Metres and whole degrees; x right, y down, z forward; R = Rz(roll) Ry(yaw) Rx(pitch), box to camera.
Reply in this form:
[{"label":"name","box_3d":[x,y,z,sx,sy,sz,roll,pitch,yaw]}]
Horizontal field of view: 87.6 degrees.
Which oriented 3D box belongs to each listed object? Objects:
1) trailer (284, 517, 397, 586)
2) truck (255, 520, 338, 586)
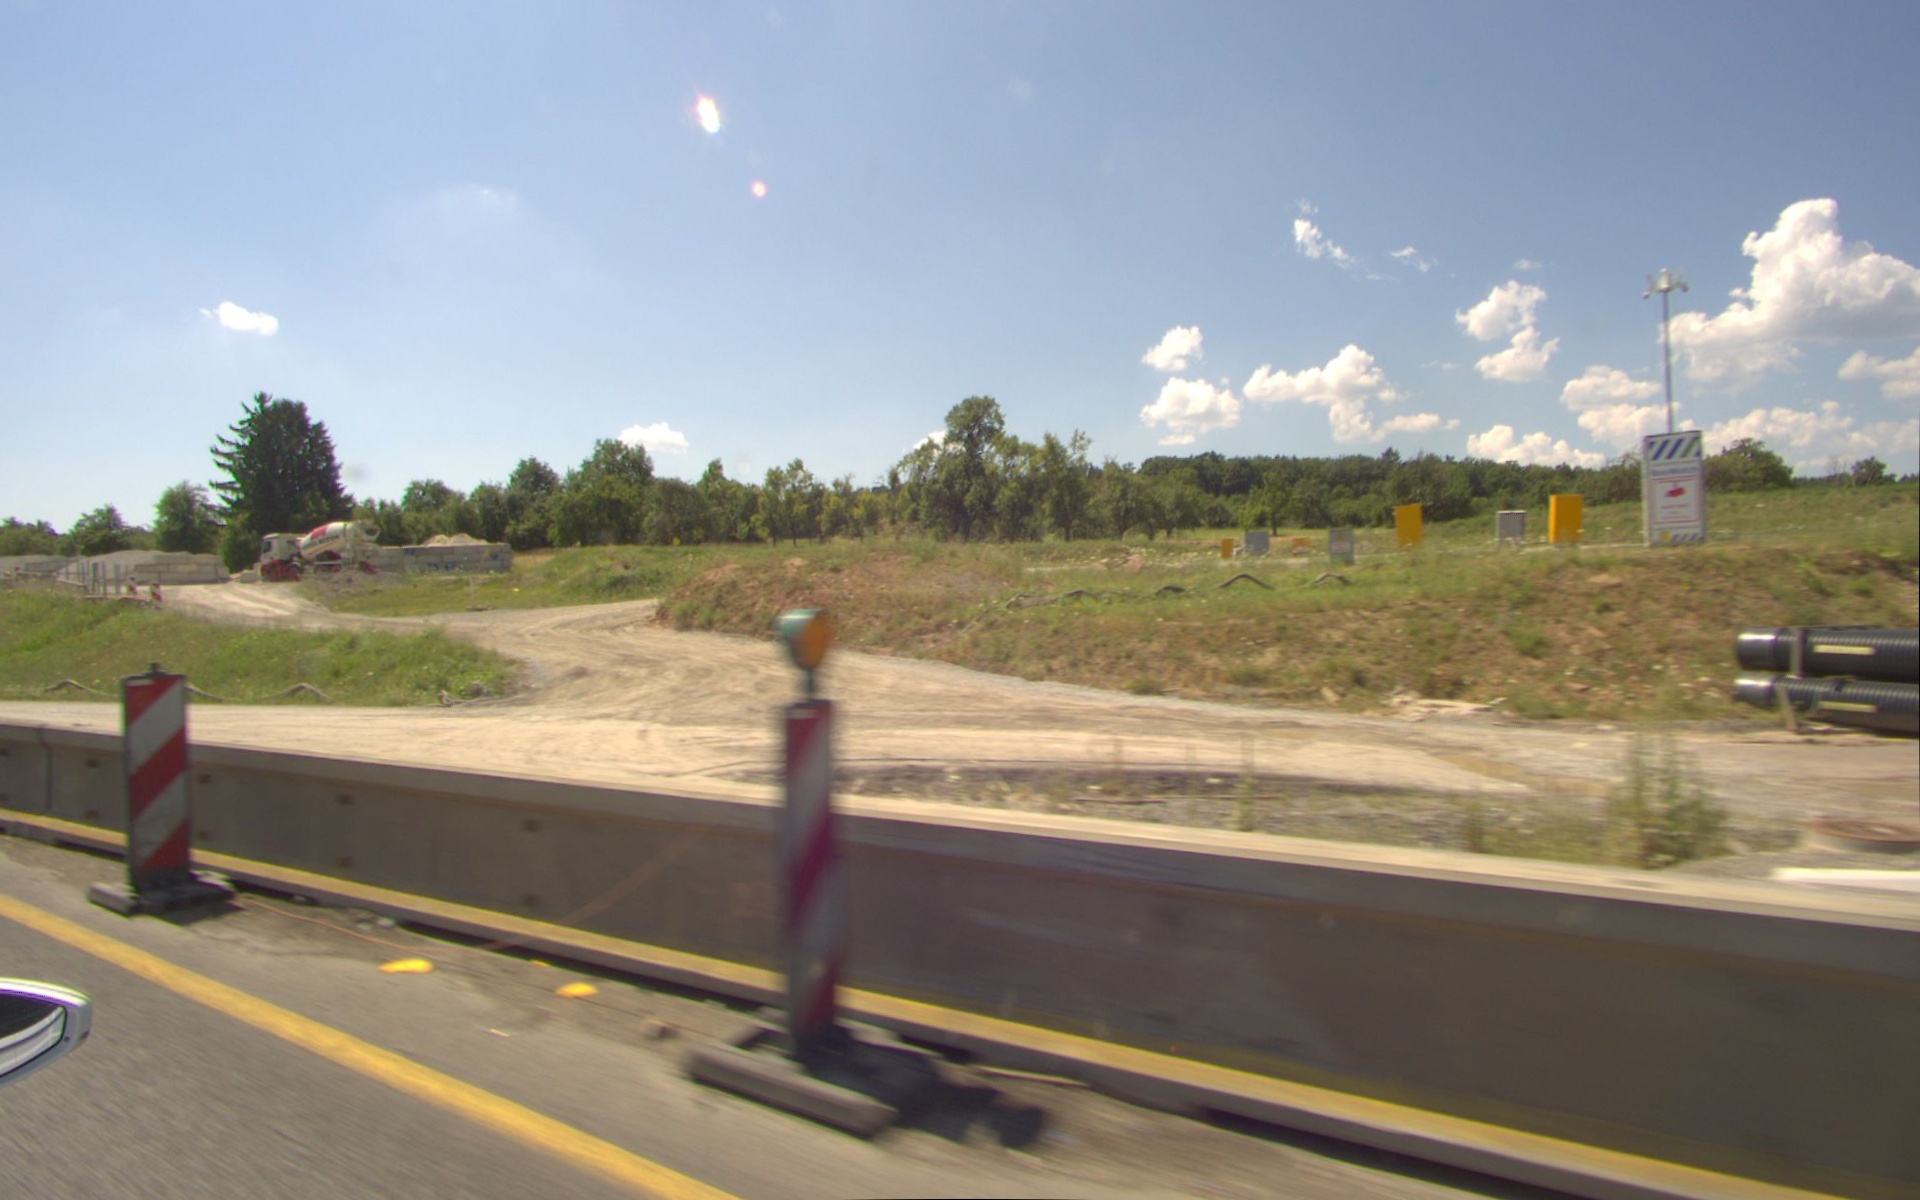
[{"label":"trailer","box_3d":[-40.633,-3.120,65.653,6.627,4.168,2.759,-1,0,20]},{"label":"truck","box_3d":[-44.378,-3.071,67.003,4.028,4.150,2.748,-1,0,20]}]
